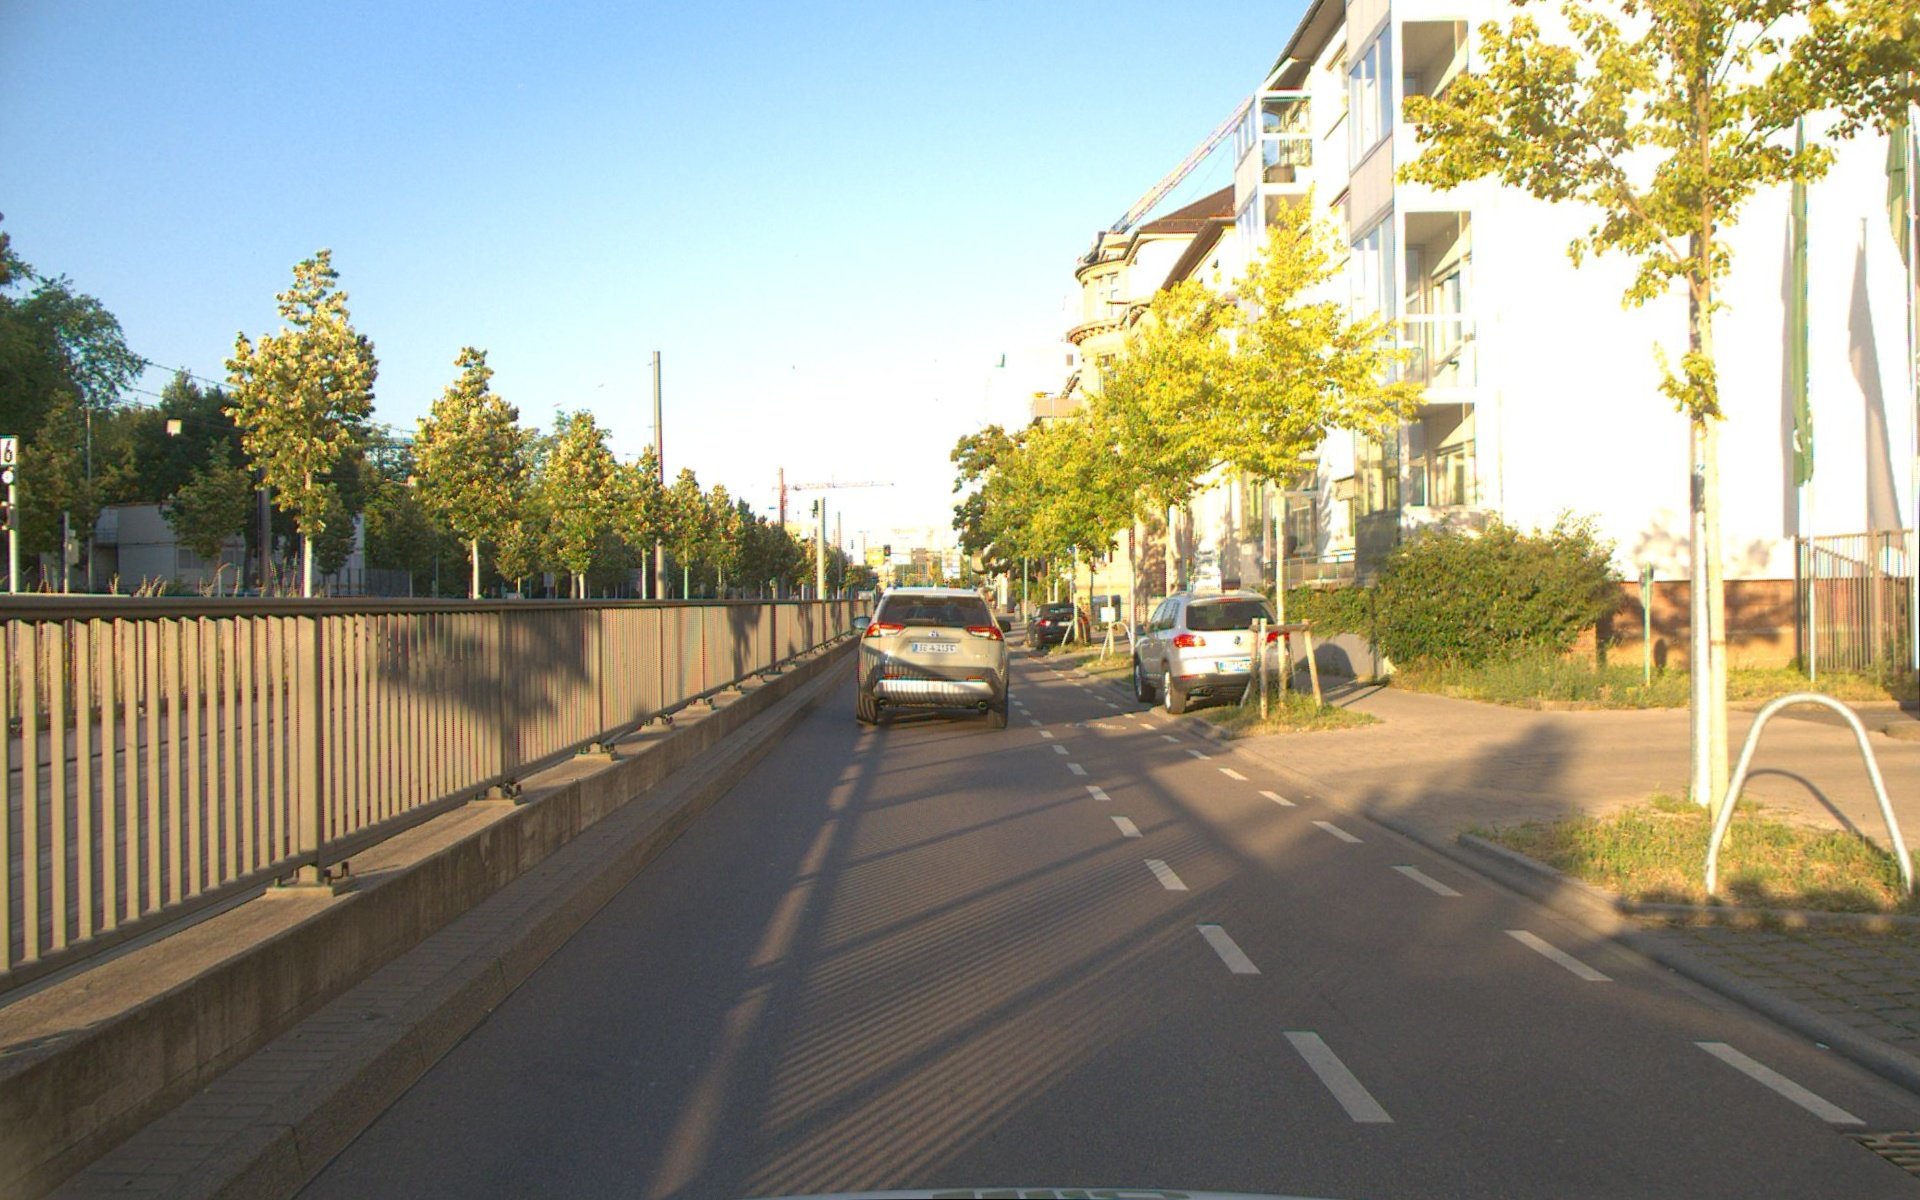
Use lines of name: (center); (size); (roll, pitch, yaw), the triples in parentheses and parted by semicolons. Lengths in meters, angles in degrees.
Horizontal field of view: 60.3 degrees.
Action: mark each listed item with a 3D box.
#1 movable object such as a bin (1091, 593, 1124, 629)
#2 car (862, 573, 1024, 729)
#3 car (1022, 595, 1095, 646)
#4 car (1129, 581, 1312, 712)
movable object such as a bin: (6.230, 0.466, 69.791); (1.235, 1.487, 1.123); (0, 0, -4)
car: (-0.296, 0.591, 20.979); (1.821, 1.744, 4.190); (1, 0, -3)
car: (3.148, 0.634, 53.759); (1.757, 1.496, 4.441); (-4, 0, -4)
car: (3.736, 0.616, 24.463); (1.817, 1.736, 4.251); (-1, 0, -3)
